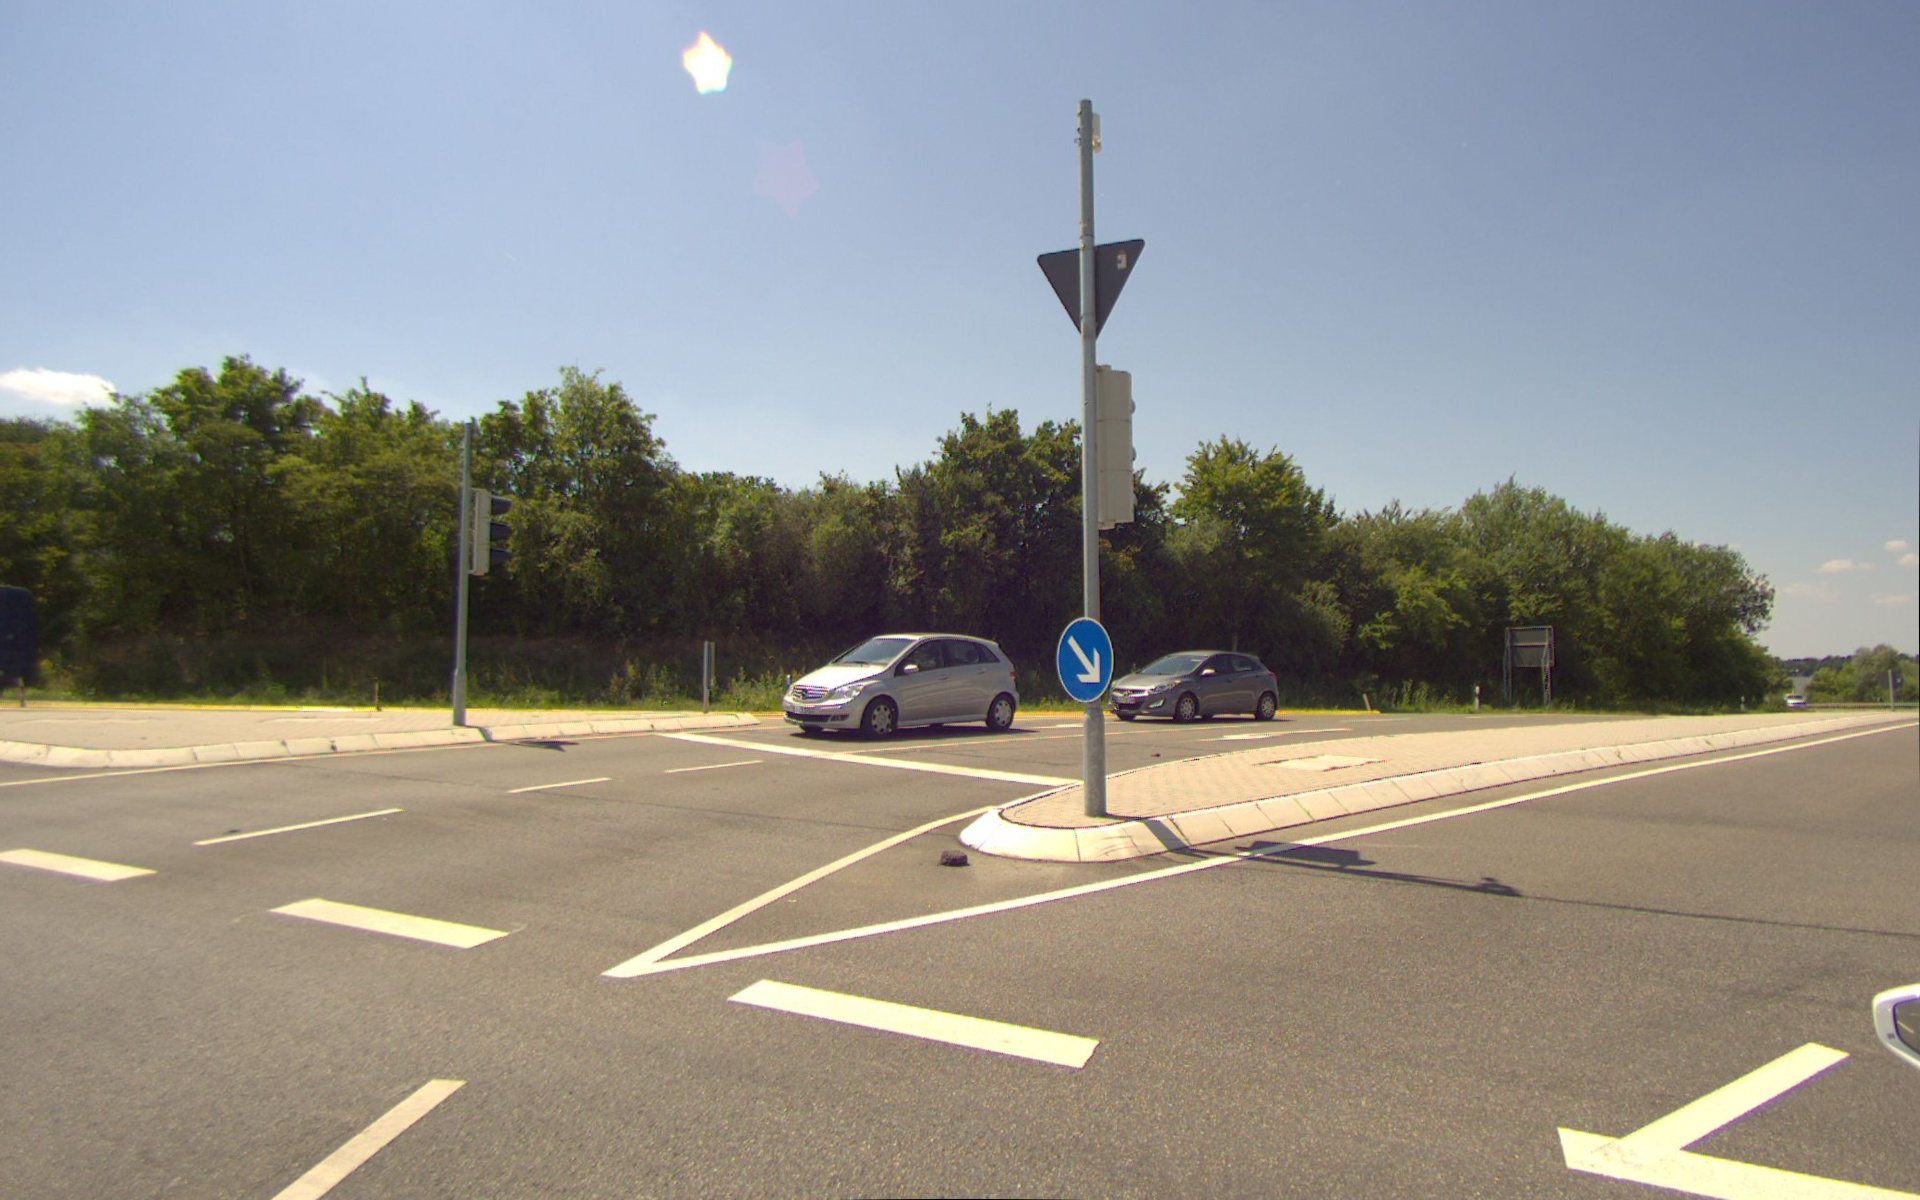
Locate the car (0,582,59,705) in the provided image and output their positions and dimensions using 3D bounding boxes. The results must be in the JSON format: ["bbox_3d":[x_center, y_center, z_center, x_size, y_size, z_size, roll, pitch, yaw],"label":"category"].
[{"bbox_3d":[-24.300,0.946,22.624,5.785,2.740,2.064,1,-2,-6],"label":"car"}]

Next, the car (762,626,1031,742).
[{"bbox_3d":[-0.894,1.297,16.274,1.752,1.616,4.305,-1,-3,43],"label":"car"}]

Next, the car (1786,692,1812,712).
[{"bbox_3d":[98.327,11.947,117.728,1.777,1.996,3.990,0,-2,33],"label":"car"}]

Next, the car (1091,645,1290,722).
[{"bbox_3d":[4.916,1.774,21.134,4.288,1.475,1.681,4,-5,-36],"label":"car"}]
